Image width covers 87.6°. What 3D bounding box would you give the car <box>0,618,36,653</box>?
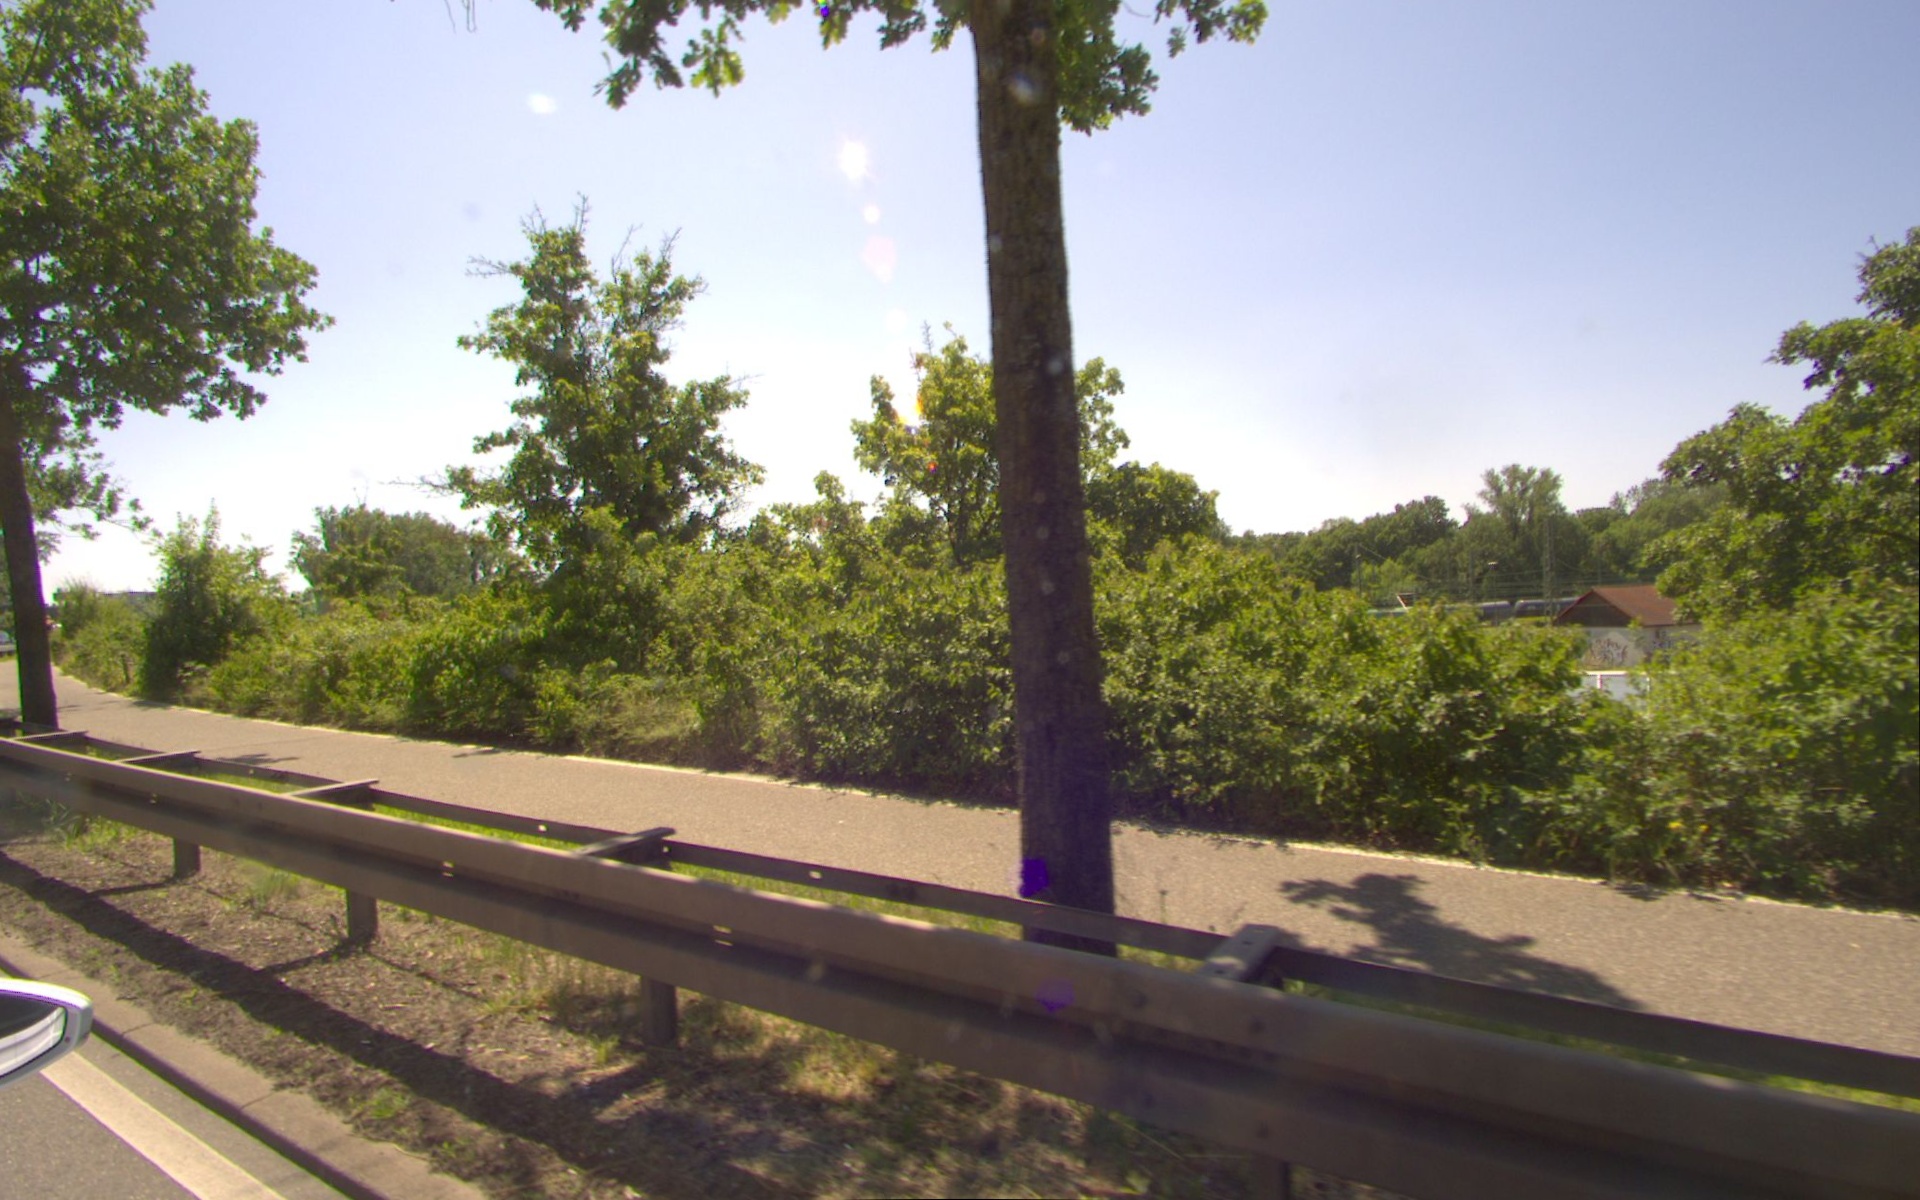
[{"bbox_3d":[-49.204,1.831,51.375,1.974,1.739,4.837,1,-2,-35],"label":"car"}]

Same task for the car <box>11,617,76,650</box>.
[{"bbox_3d":[-52.446,1.897,57.380,1.973,1.790,4.727,1,-2,-33],"label":"car"}]

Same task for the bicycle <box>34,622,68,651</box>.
[{"bbox_3d":[-39.497,1.584,43.528,0.852,1.252,2.294,0,-2,-36],"label":"bicycle"}]

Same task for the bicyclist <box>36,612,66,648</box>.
[{"bbox_3d":[-39.471,1.292,43.488,0.852,1.543,0.974,0,-1,-35],"label":"bicyclist"}]
